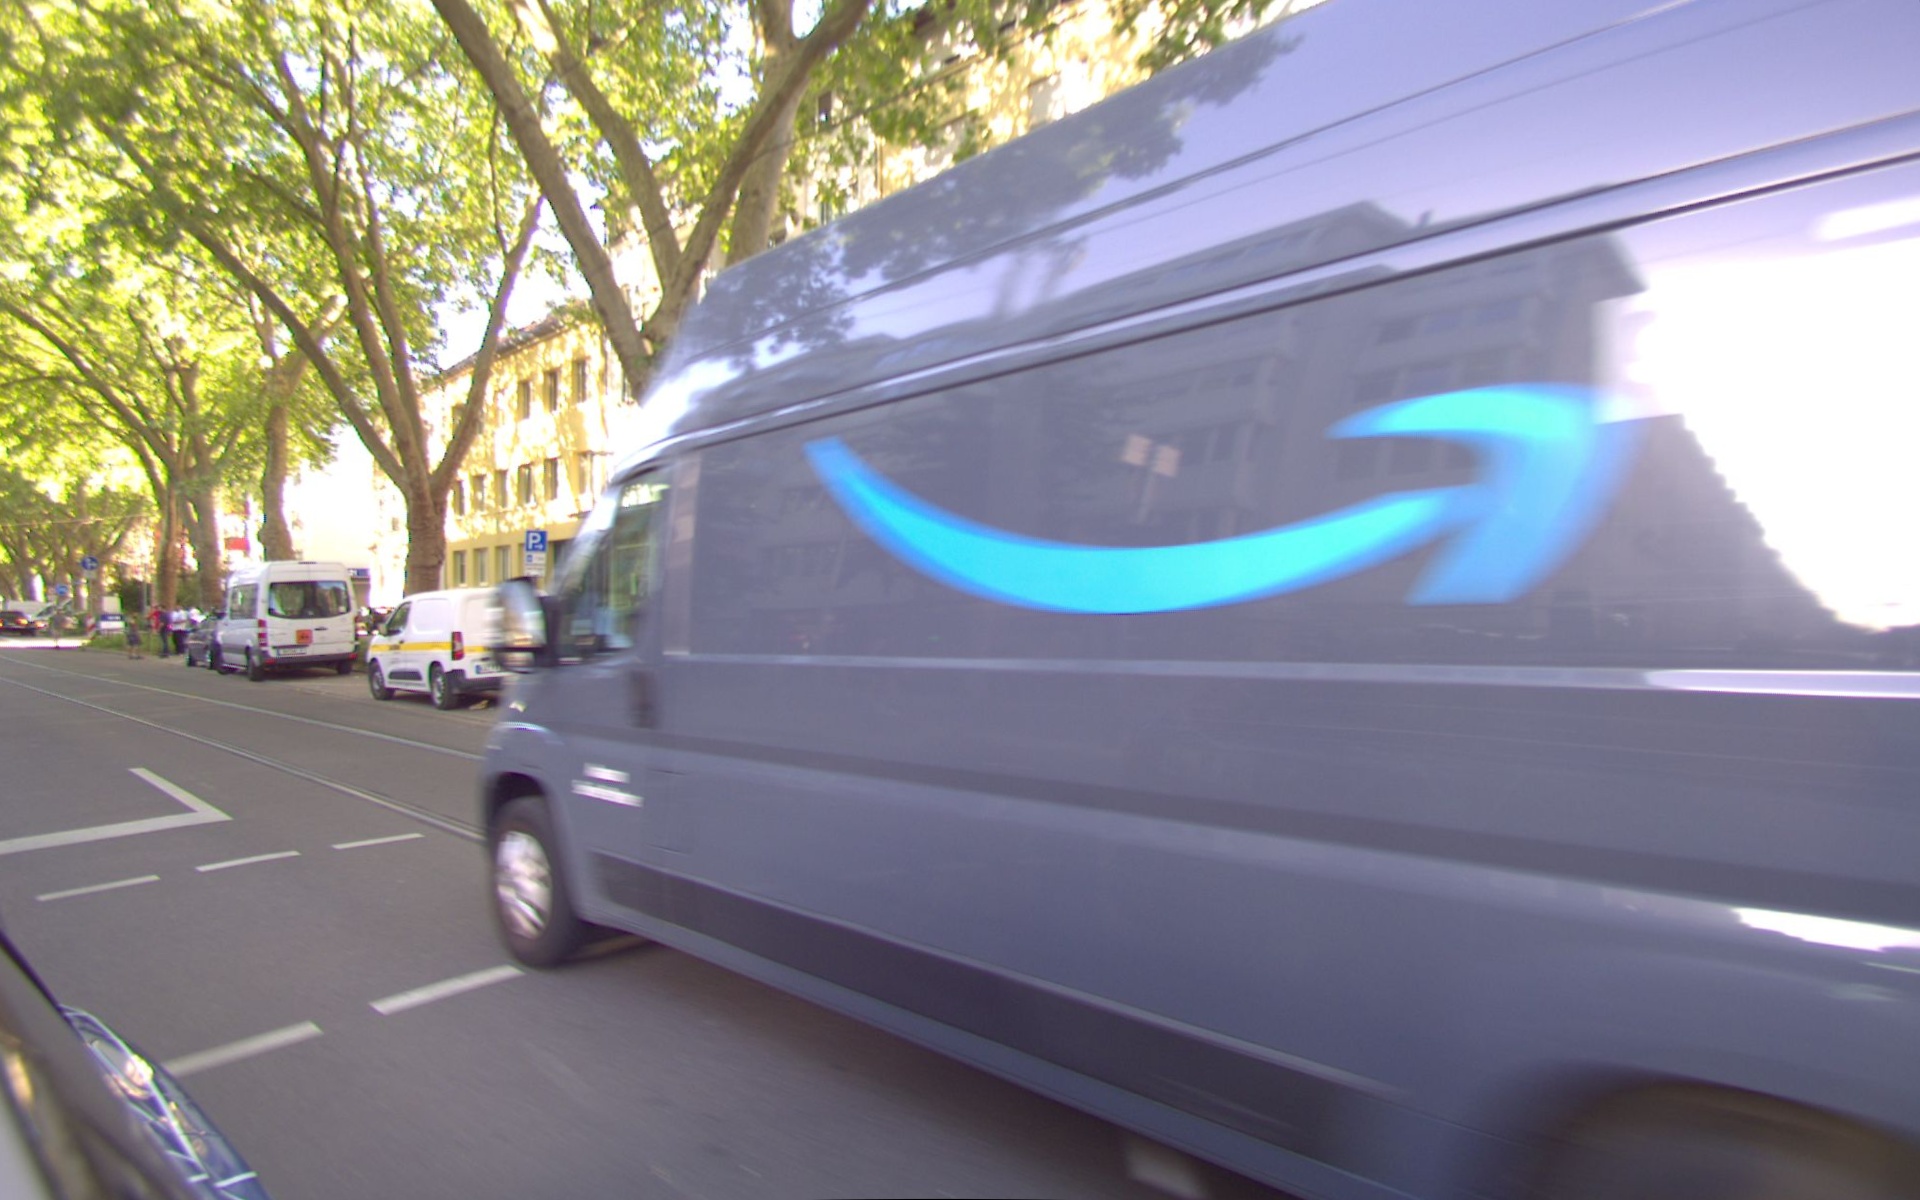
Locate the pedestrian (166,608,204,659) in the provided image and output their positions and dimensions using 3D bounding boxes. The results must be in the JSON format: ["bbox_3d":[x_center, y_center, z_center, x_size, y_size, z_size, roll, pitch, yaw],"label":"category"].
[{"bbox_3d":[-27.286,1.178,35.642,0.759,1.748,0.718,-1,0,-5],"label":"pedestrian"}]

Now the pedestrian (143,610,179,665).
[{"bbox_3d":[-26.852,1.251,34.014,0.757,1.790,0.716,-1,1,-24],"label":"pedestrian"}]

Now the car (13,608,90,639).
[{"bbox_3d":[-75.137,1.906,83.724,2.000,2.323,4.598,0,1,44],"label":"car"}]

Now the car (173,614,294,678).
[{"bbox_3d":[-20.161,1.203,28.018,4.284,1.573,1.896,0,1,43],"label":"car"}]

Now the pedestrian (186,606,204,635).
[{"bbox_3d":[-47.793,1.295,63.214,0.668,1.793,0.715,0,1,34],"label":"pedestrian"}]

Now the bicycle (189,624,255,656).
[{"bbox_3d":[-26.765,1.431,36.736,1.820,1.088,0.571,-1,1,-19],"label":"bicycle"}]

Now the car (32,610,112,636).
[{"bbox_3d":[-61.363,1.559,69.972,1.908,1.622,3.945,-1,0,42],"label":"car"}]

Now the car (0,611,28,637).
[{"bbox_3d":[-64.796,1.619,68.608,4.181,1.696,1.902,0,-2,42],"label":"car"}]

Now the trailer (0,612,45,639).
[{"bbox_3d":[-60.764,1.608,64.877,6.583,1.644,2.420,0,-2,42],"label":"trailer"}]

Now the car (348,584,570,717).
[{"bbox_3d":[-8.223,0.714,16.430,4.317,1.864,1.744,0,1,42],"label":"car"}]

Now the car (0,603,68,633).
[{"bbox_3d":[-85.814,1.618,93.799,2.000,2.552,4.598,0,1,44],"label":"car"}]

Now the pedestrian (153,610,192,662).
[{"bbox_3d":[-27.236,1.234,34.999,0.759,1.748,0.715,-1,0,-5],"label":"pedestrian"}]

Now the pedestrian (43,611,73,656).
[{"bbox_3d":[-37.427,1.389,42.006,0.799,1.805,0.693,-1,1,31],"label":"pedestrian"}]

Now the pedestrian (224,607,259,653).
[{"bbox_3d":[-25.822,1.064,36.386,0.759,1.622,0.715,-1,0,-5],"label":"pedestrian"}]

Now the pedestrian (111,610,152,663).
[{"bbox_3d":[-28.090,1.227,34.327,0.705,1.748,0.770,-1,0,5],"label":"pedestrian"}]

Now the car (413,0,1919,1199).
[{"bbox_3d":[0.450,-0.007,3.220,6.116,2.759,2.090,0,-1,44],"label":"car"}]

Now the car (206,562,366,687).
[{"bbox_3d":[-16.125,0.503,24.049,2.083,2.596,6.028,-2,1,-44],"label":"car"}]

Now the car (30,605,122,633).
[{"bbox_3d":[-68.341,1.423,78.295,1.998,2.010,5.070,-1,1,39],"label":"car"}]

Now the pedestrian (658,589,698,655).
[{"bbox_3d":[-8.222,0.618,29.531,0.863,1.883,0.736,-1,1,42],"label":"pedestrian"}]
